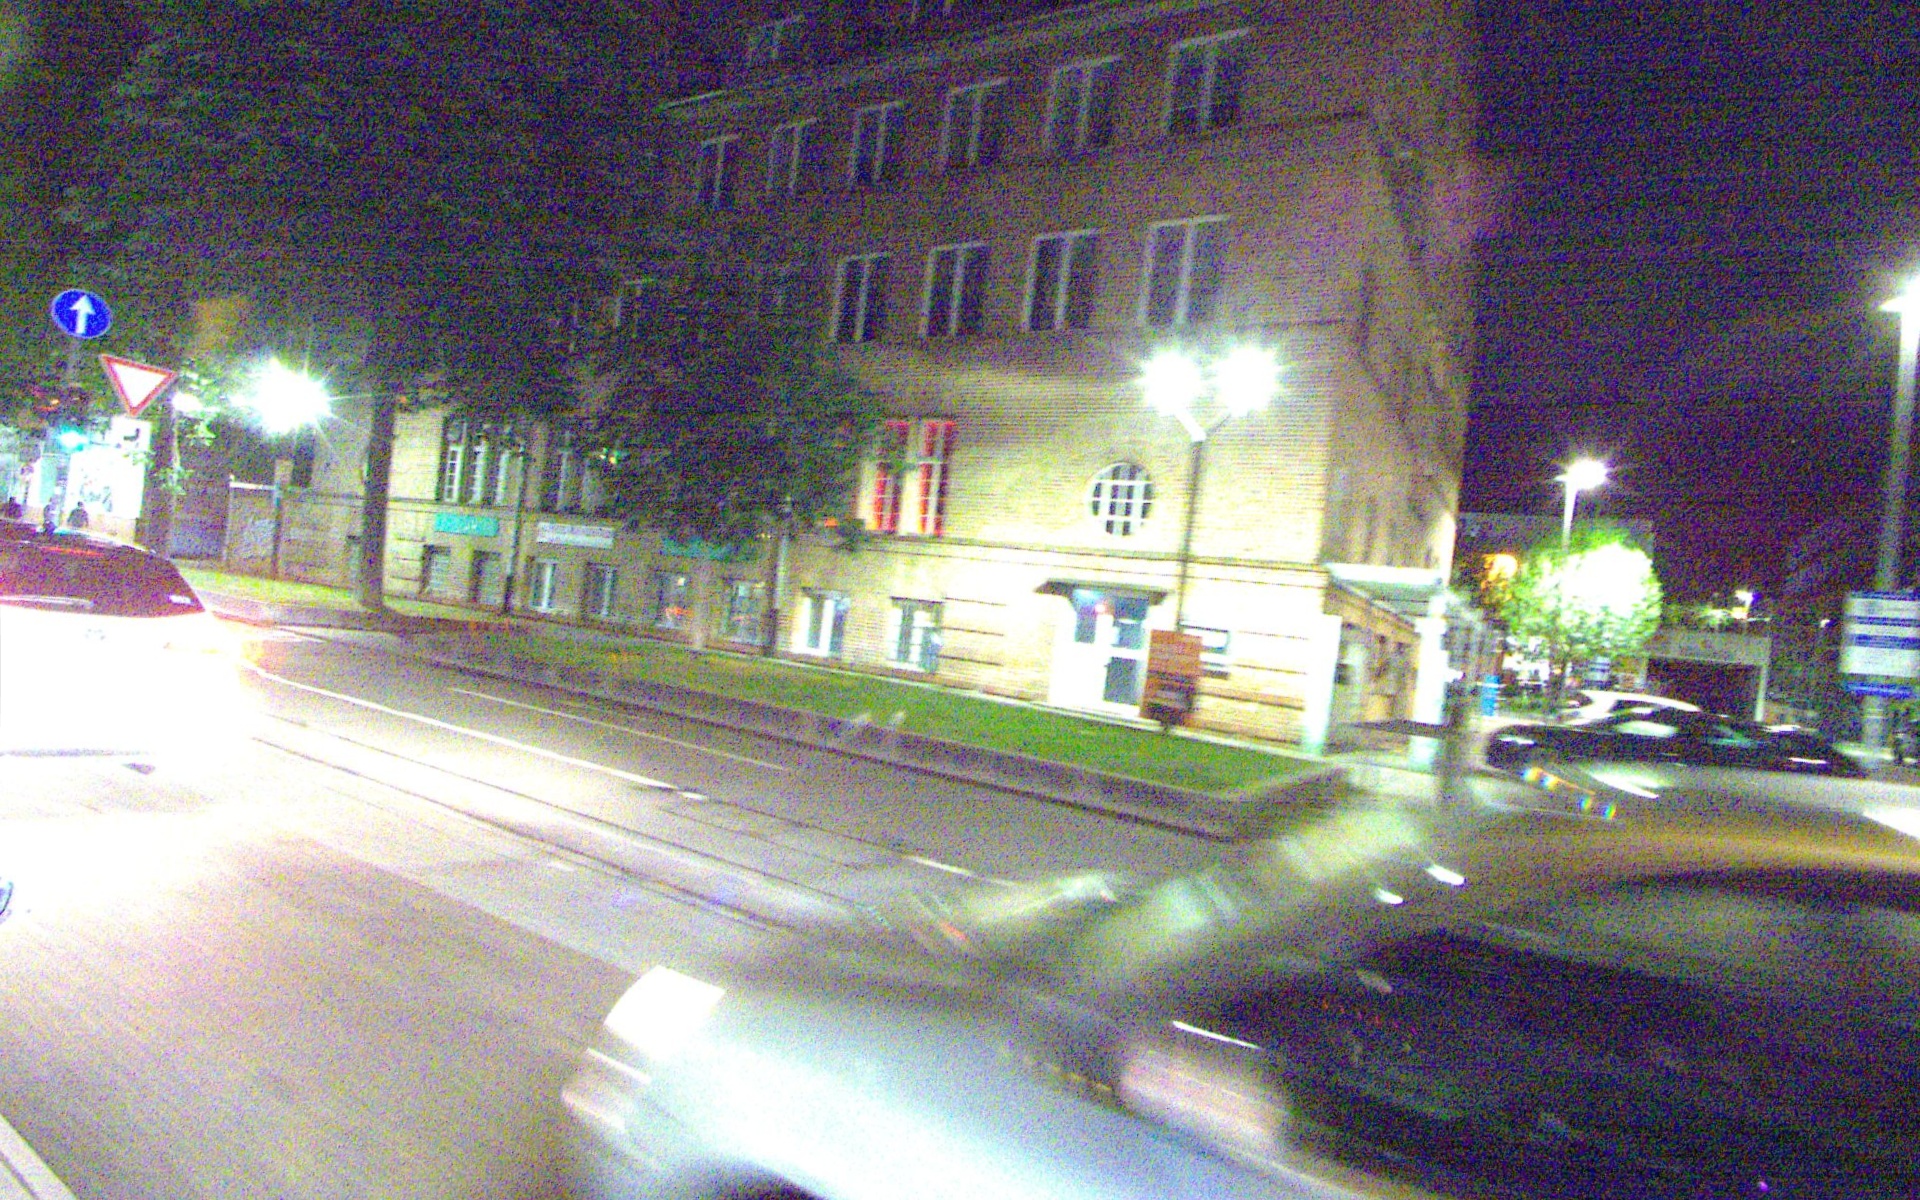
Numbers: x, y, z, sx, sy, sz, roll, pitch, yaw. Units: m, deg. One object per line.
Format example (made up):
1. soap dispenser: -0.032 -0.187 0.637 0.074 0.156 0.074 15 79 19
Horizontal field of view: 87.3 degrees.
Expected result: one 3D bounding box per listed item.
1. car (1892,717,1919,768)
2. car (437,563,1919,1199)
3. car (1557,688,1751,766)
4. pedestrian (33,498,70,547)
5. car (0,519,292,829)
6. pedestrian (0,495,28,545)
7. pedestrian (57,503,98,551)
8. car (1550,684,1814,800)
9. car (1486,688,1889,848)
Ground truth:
1. car: 37.633 5.577 38.427 2.046 1.787 4.541 6 -1 33
2. car: 1.118 0.947 1.658 3.933 1.511 1.641 6 -2 31
3. car: 19.114 3.463 27.990 4.170 1.446 1.996 6 -1 31
4. pedestrian: -35.504 -3.014 39.295 0.892 1.791 0.739 7 1 31
5. car: -6.135 0.207 6.082 4.140 1.452 1.733 6 -2 30
6. pedestrian: -36.187 -3.057 38.314 0.892 1.791 0.715 7 1 31
7. pedestrian: -35.400 -2.922 40.359 0.892 1.791 0.902 7 1 31
8. car: 13.958 2.690 19.757 3.934 1.552 1.784 6 0 32
9. car: 10.244 2.286 14.584 4.409 1.412 1.514 6 0 33
